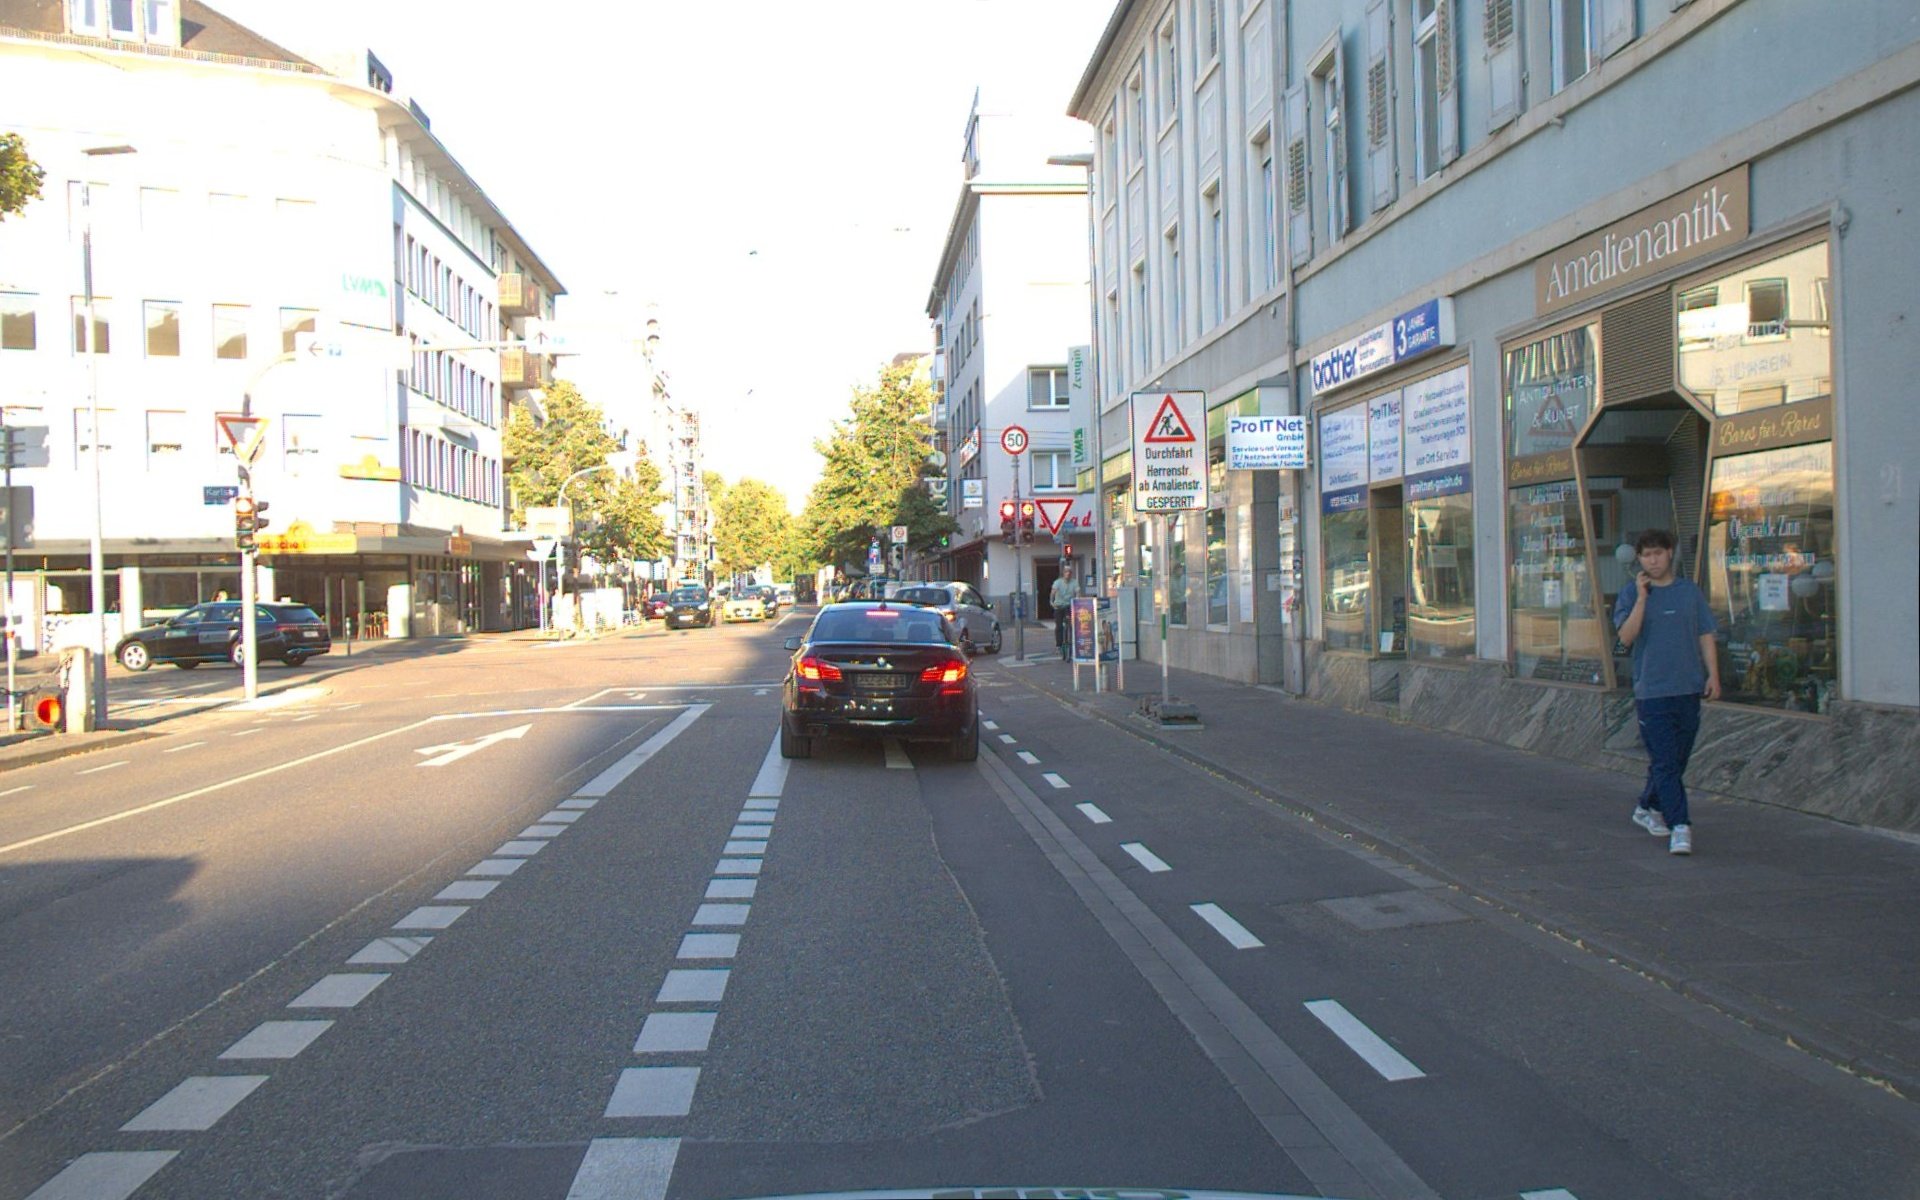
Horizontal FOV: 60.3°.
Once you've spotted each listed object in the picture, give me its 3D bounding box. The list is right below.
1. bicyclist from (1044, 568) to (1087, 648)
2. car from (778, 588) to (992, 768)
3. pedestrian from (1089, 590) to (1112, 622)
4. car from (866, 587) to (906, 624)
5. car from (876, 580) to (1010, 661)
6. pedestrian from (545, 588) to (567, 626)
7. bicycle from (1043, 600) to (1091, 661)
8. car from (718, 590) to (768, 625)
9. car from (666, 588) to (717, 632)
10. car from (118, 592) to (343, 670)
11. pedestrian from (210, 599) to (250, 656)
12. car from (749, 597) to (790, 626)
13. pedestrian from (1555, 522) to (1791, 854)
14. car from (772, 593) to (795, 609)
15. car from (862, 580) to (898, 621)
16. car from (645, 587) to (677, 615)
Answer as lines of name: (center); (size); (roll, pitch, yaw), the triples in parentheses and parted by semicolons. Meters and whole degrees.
bicyclist: (2.059, 0.156, 32.394); (0.707, 1.534, 0.899); (-1, 0, -3)
car: (-0.859, 0.669, 16.729); (1.866, 1.567, 4.445); (0, 0, -5)
pedestrian: (5.267, 0.212, 62.193); (0.684, 1.177, 0.843); (-2, 0, -6)
car: (-3.154, 0.220, 70.033); (1.593, 1.497, 3.391); (0, 0, -5)
car: (-0.291, 0.403, 35.685); (1.794, 1.603, 4.103); (-1, 1, 16)
pedestrian: (-18.259, 0.306, 74.761); (0.807, 1.706, 0.870); (-1, 0, -5)
bicycle: (2.075, 0.579, 32.343); (0.676, 1.126, 1.895); (-1, 0, -4)
car: (-9.574, 0.310, 72.741); (1.957, 1.467, 3.991); (-2, 0, -10)
car: (-10.934, 0.388, 67.172); (1.957, 1.646, 3.991); (-2, 0, -10)
car: (-16.423, 0.684, 37.314); (4.340, 1.623, 1.880); (-1, 0, 13)
pedestrian: (-20.476, 0.756, 46.409); (0.935, 1.564, 0.900); (-1, 0, -28)
car: (-9.185, 0.553, 79.548); (1.702, 1.315, 3.991); (-2, 0, -10)
pedestrian: (3.806, 0.444, 8.889); (0.807, 1.670, 0.870); (-2, 0, -6)
car: (-15.233, 0.097, 142.569); (1.702, 1.315, 3.991); (-2, 0, -10)
car: (-3.718, 0.026, 76.404); (1.394, 1.887, 3.048); (0, 0, -7)
car: (-16.919, 0.051, 93.689); (1.702, 1.487, 3.990); (-2, 0, -10)
